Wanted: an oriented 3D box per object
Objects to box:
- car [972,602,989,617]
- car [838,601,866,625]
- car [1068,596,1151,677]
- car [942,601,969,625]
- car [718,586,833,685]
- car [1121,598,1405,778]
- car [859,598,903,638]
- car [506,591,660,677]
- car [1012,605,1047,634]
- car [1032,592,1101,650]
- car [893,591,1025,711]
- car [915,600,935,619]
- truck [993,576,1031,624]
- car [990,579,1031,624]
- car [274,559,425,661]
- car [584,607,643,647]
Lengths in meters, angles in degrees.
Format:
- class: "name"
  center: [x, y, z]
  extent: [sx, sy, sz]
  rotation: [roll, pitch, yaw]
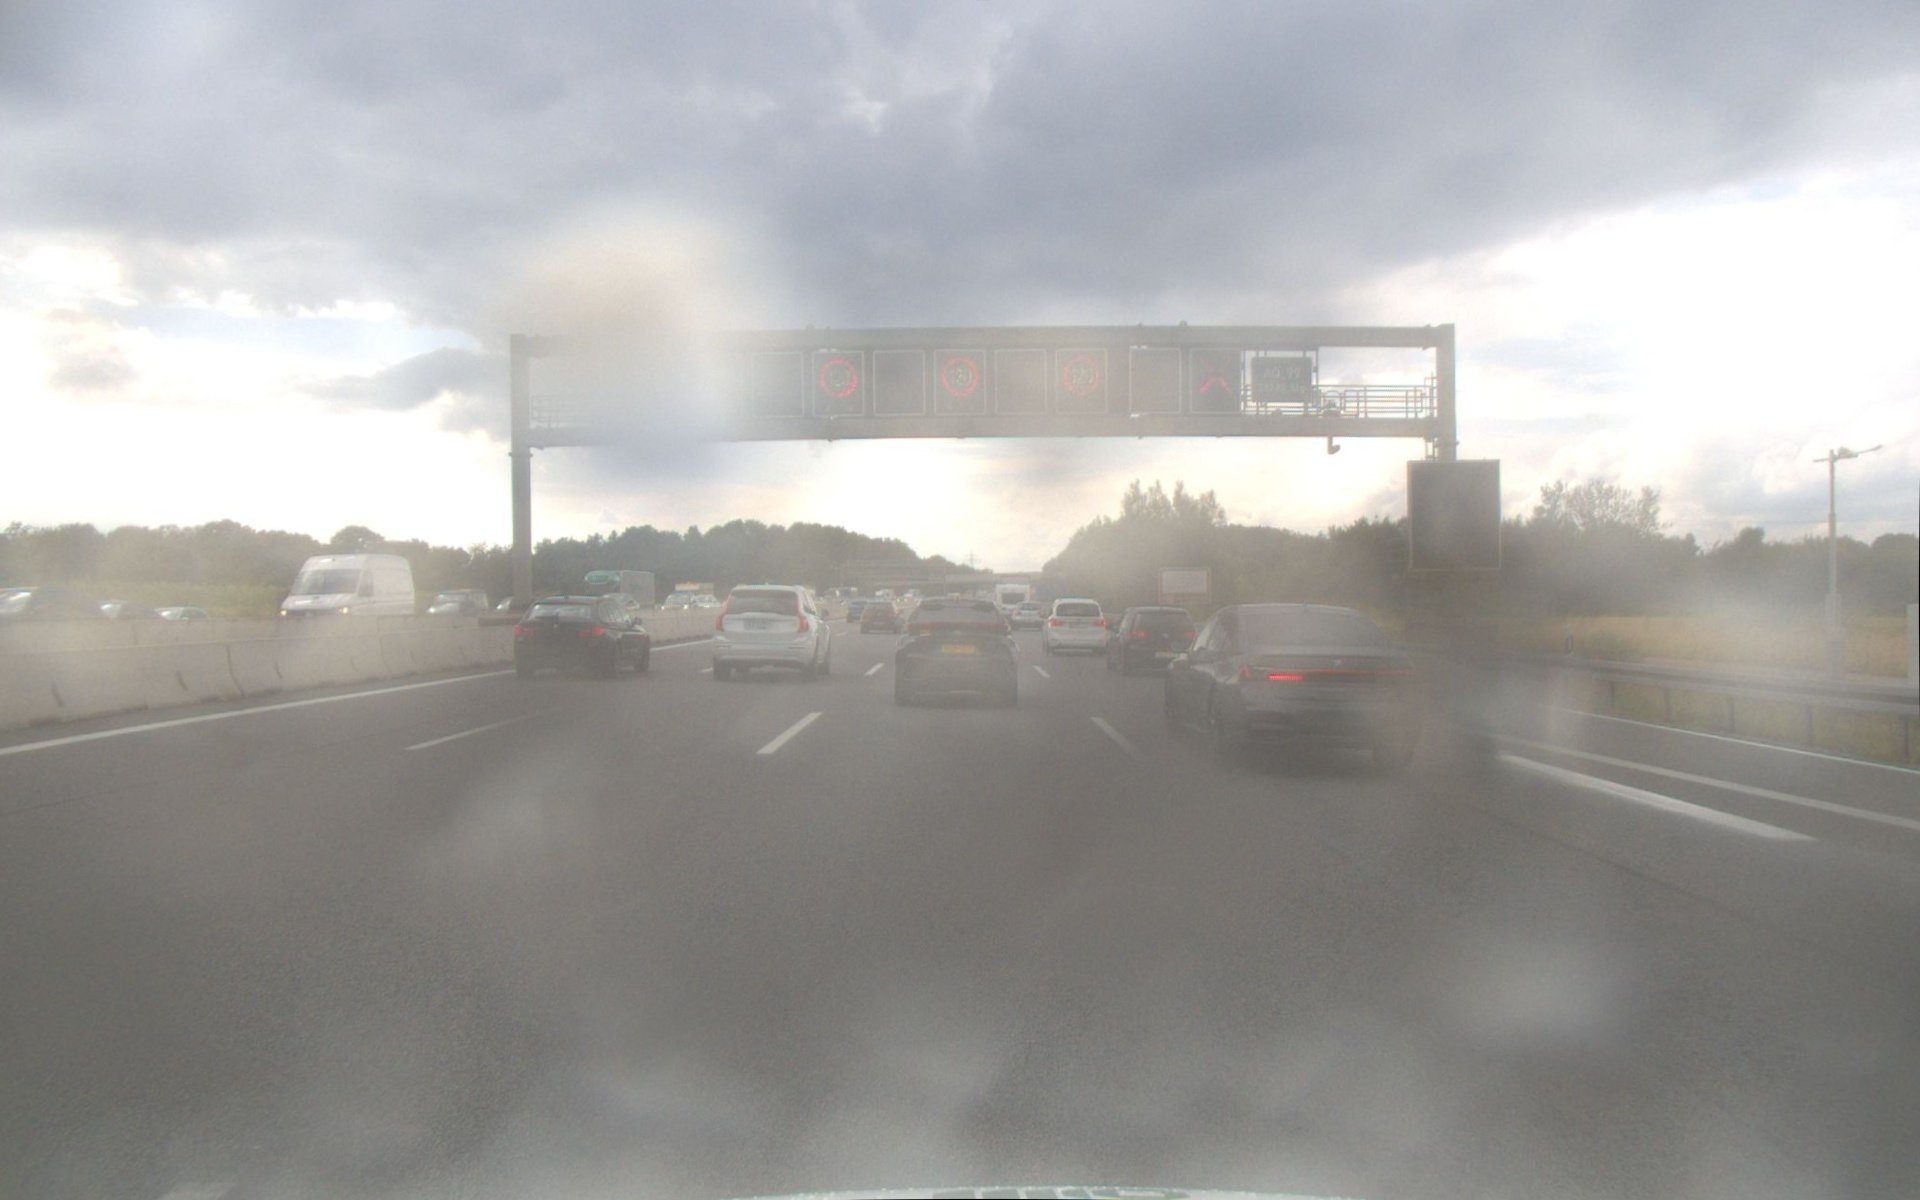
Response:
- class: "car"
  center: [2.394, 1.105, 194.277]
  extent: [1.843, 1.715, 3.998]
  rotation: [1, 0, -2]
- class: "car"
  center: [-6.942, 0.853, 106.600]
  extent: [1.531, 1.503, 3.919]
  rotation: [1, 0, 0]
- class: "car"
  center: [3.234, 0.756, 36.427]
  extent: [1.671, 1.659, 4.458]
  rotation: [0, 0, 3]
- class: "car"
  center: [-0.322, 0.915, 117.561]
  extent: [1.843, 1.715, 3.999]
  rotation: [1, 0, -1]
- class: "car"
  center: [-3.465, 0.635, 31.732]
  extent: [1.744, 1.746, 4.352]
  rotation: [1, 0, 0]
- class: "car"
  center: [2.815, 0.756, 16.471]
  extent: [1.900, 1.517, 4.775]
  rotation: [1, 0, -1]
- class: "car"
  center: [-3.540, 0.795, 74.928]
  extent: [1.843, 1.715, 3.999]
  rotation: [1, 0, -1]
- class: "car"
  center: [-7.053, 0.608, 31.370]
  extent: [1.744, 1.507, 4.354]
  rotation: [1, 0, 2]
- class: "car"
  center: [3.654, 1.011, 87.735]
  extent: [1.758, 1.503, 4.038]
  rotation: [1, 0, 1]
- class: "car"
  center: [3.110, 0.589, 49.136]
  extent: [1.773, 1.627, 4.695]
  rotation: [1, 0, 0]
- class: "car"
  center: [-0.109, 0.712, 25.106]
  extent: [1.745, 1.641, 4.594]
  rotation: [1, 0, -3]
- class: "car"
  center: [-3.295, 0.889, 156.897]
  extent: [1.843, 1.715, 3.999]
  rotation: [1, 0, -1]
- class: "truck"
  center: [4.268, 0.002, 137.299]
  extent: [3.068, 3.774, 9.848]
  rotation: [1, 0, 1]
- class: "car"
  center: [3.354, 0.100, 111.990]
  extent: [2.514, 2.946, 7.532]
  rotation: [1, 0, 0]
- class: "car"
  center: [-17.026, 0.276, 46.541]
  extent: [1.953, 2.662, 6.341]
  rotation: [1, 0, -1]
- class: "car"
  center: [-17.303, 1.326, 82.823]
  extent: [1.953, 1.918, 5.185]
  rotation: [1, 0, -1]
